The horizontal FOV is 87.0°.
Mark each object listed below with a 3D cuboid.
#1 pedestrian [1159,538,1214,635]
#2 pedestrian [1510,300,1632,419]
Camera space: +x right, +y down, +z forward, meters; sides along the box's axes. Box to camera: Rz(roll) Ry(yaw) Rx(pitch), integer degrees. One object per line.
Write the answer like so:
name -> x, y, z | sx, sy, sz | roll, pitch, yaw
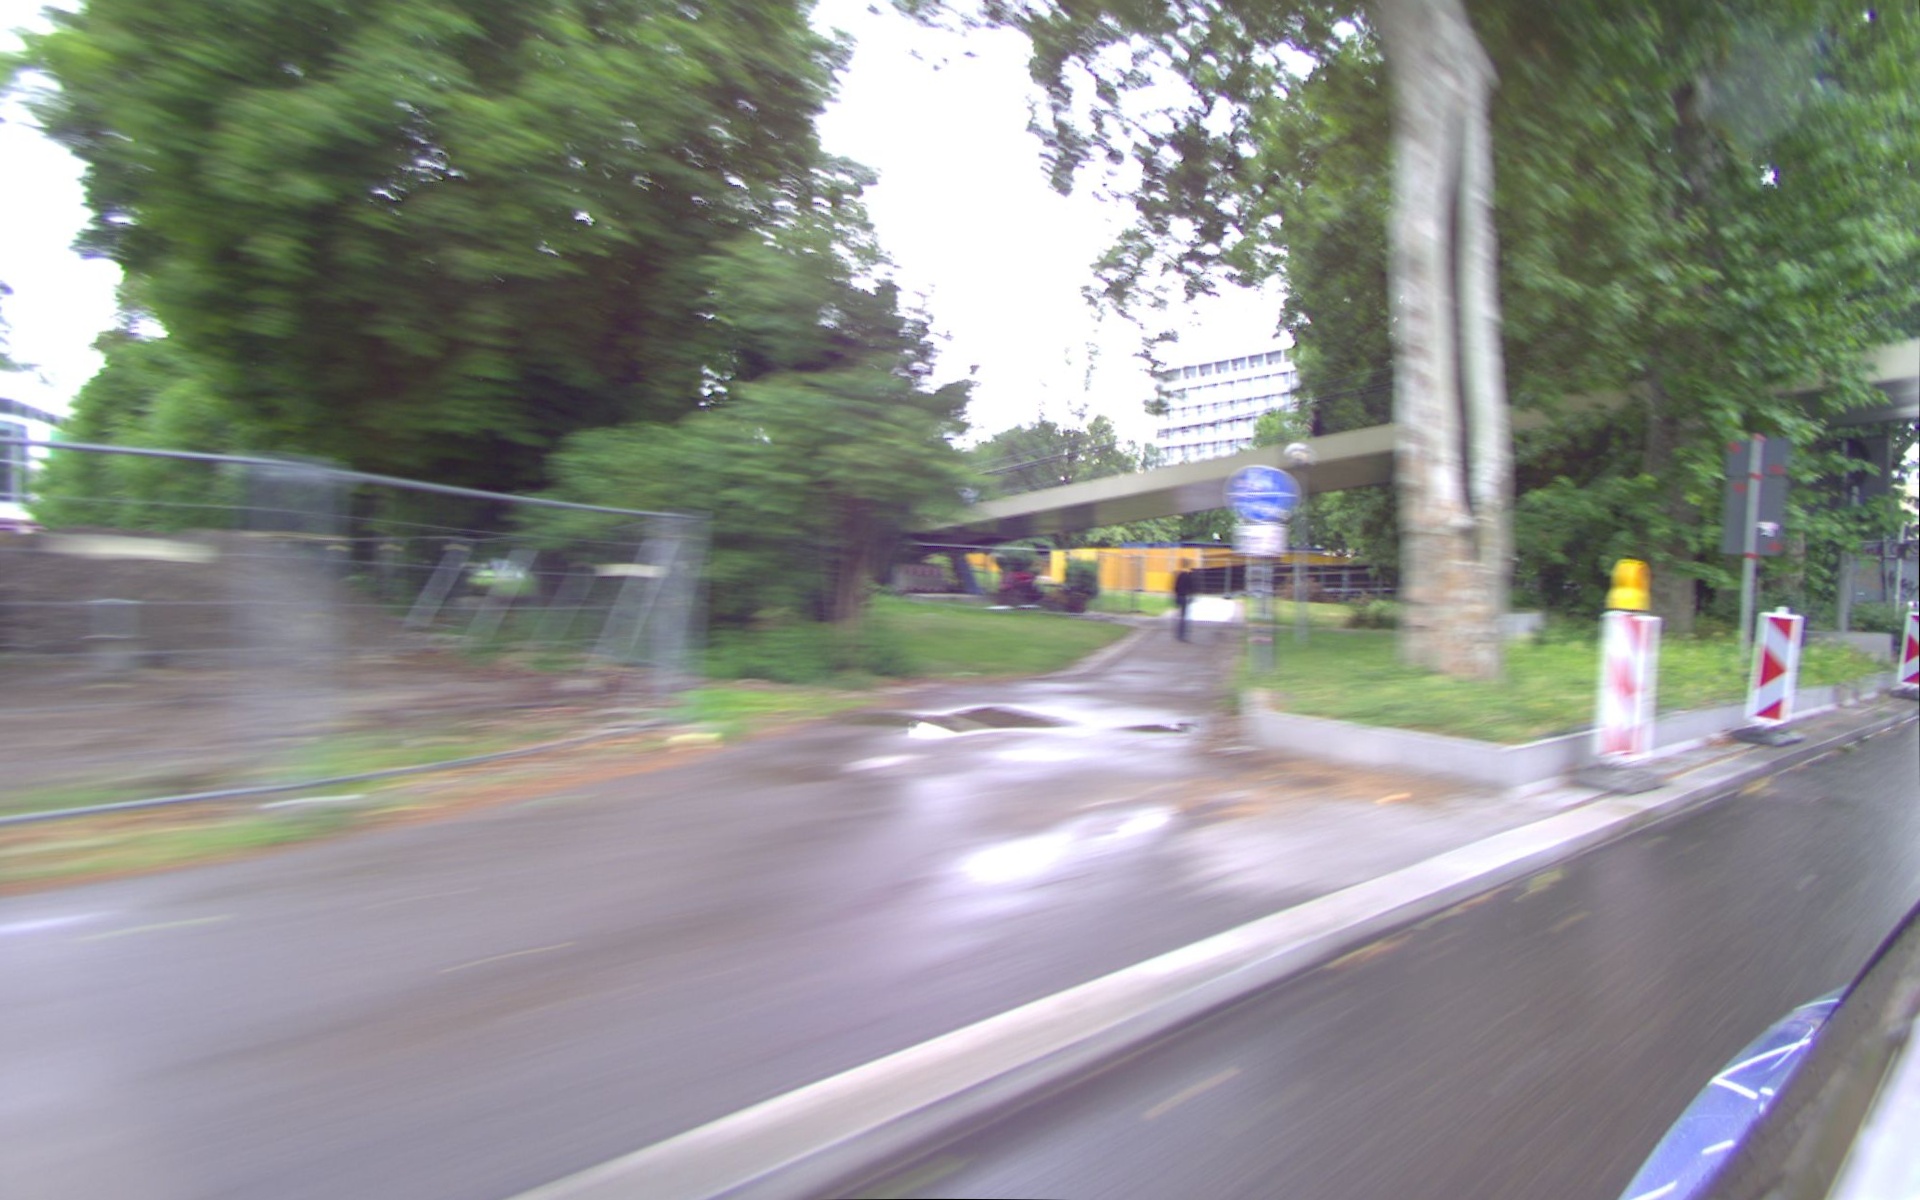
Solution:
pedestrian -> 4.918, -0.297, 22.022 | 1.035, 2.039, 1.036 | 1, 0, 8
pedestrian -> 12.879, -5.004, 21.355 | 1.094, 2.038, 1.987 | -1, 2, -44
